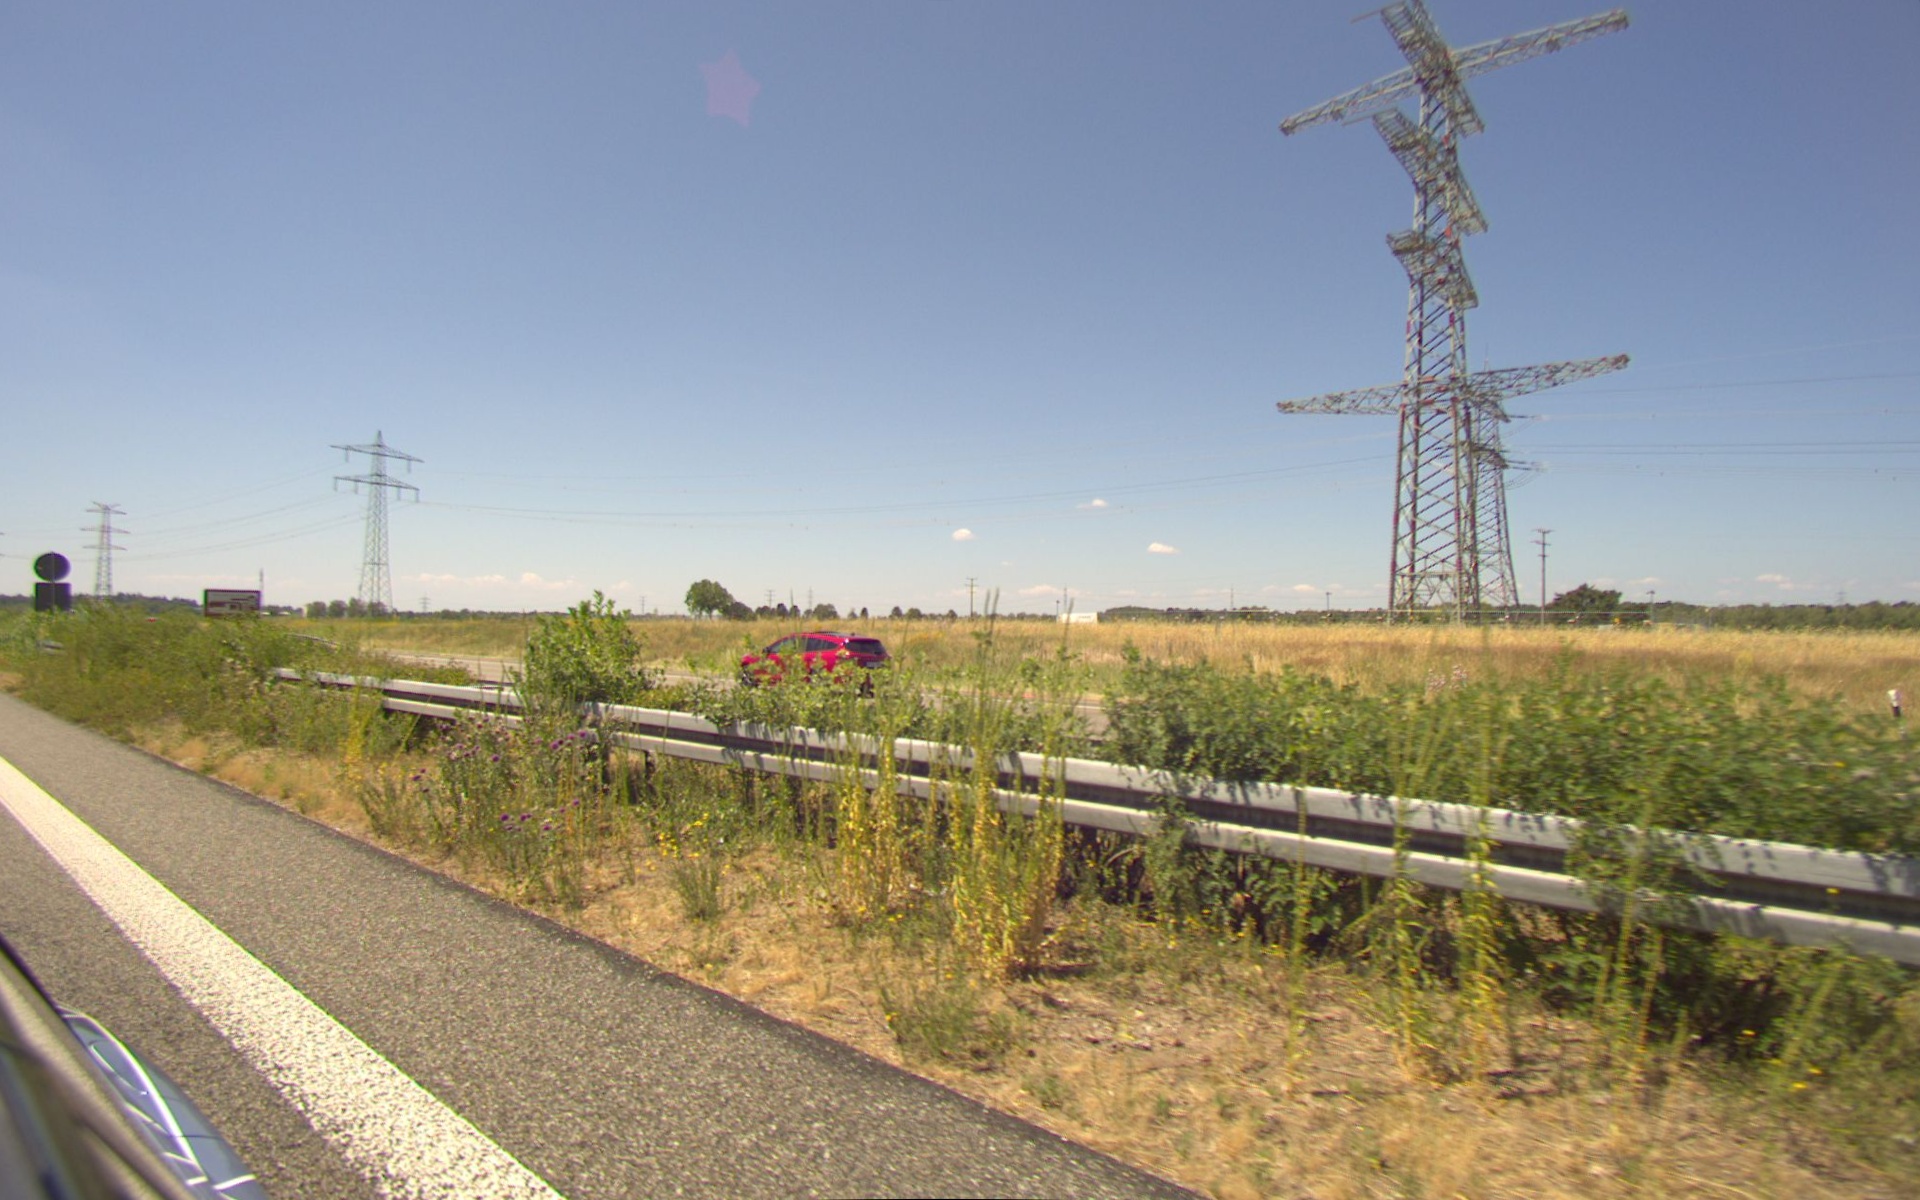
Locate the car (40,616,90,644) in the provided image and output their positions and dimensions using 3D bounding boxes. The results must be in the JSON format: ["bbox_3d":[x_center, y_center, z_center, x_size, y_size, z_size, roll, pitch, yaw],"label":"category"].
[{"bbox_3d":[-66.313,2.192,74.963,5.835,2.002,1.976,-1,-1,41],"label":"car"}]

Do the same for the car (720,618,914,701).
[{"bbox_3d":[-3.556,1.348,24.540,4.977,1.793,1.898,0,-1,41],"label":"car"}]

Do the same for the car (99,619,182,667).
[{"bbox_3d":[-33.339,1.706,41.142,4.410,1.793,1.898,0,-1,41],"label":"car"}]

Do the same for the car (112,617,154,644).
[{"bbox_3d":[-64.171,2.332,78.510,3.984,1.993,1.876,-1,-1,41],"label":"car"}]
